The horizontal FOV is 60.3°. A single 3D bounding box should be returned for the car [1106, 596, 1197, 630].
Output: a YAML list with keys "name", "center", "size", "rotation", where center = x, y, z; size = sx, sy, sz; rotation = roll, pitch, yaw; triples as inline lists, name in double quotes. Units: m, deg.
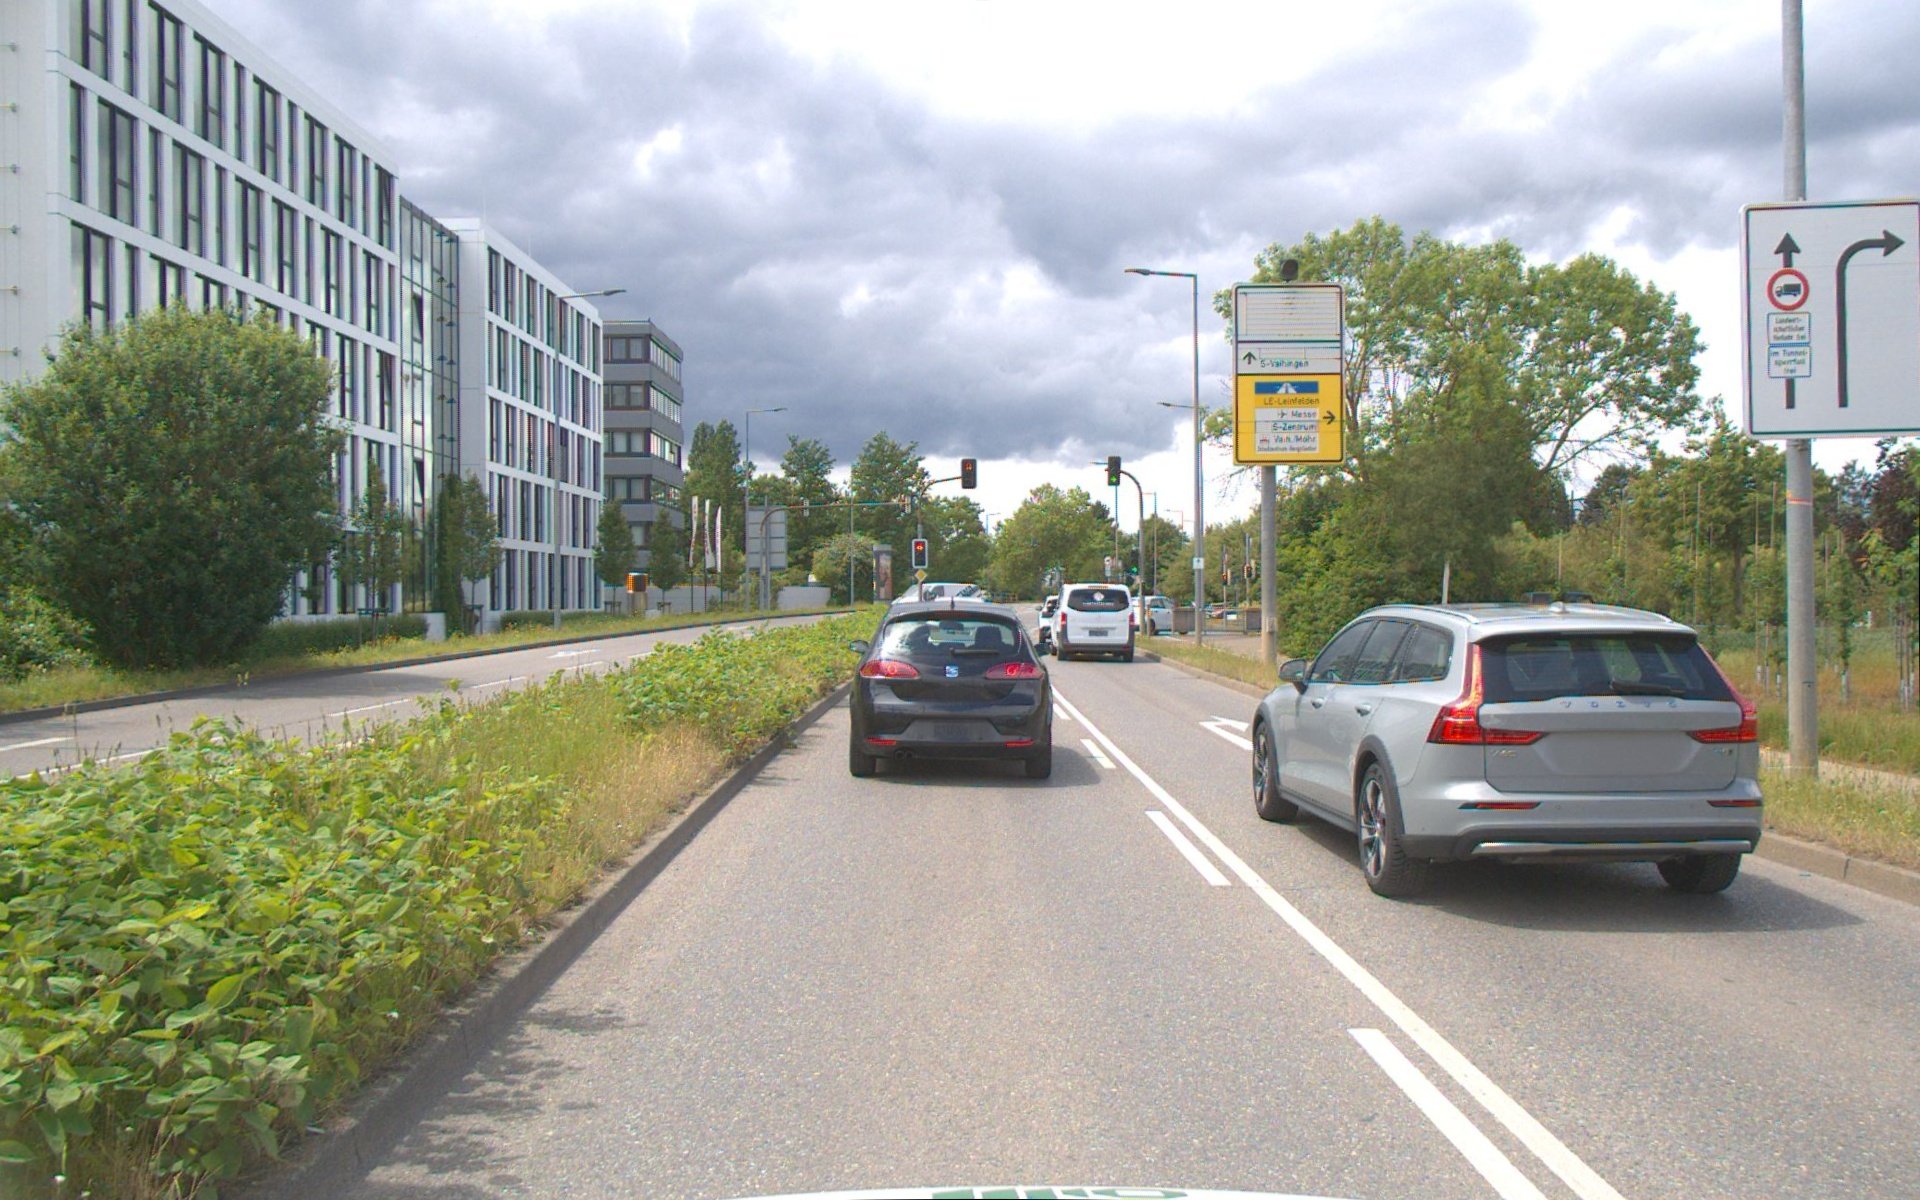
- name: "car"
  center: [7.803, 0.504, 67.449]
  size: [3.322, 1.369, 1.683]
  rotation: [0, 0, -14]

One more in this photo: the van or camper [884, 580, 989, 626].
- name: "van or camper"
  center: [-1.050, 0.126, 75.305]
  size: [1.967, 2.049, 4.780]
  rotation: [0, 0, 45]

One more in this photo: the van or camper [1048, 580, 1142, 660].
- name: "van or camper"
  center: [3.338, 0.458, 41.649]
  size: [1.953, 1.892, 4.943]
  rotation: [0, 0, 0]

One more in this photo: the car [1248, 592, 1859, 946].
- name: "car"
  center: [3.029, 0.735, 9.562]
  size: [1.825, 1.545, 4.445]
  rotation: [-1, 0, -2]

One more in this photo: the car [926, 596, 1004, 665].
- name: "car"
  center: [0.085, 0.680, 38.654]
  size: [1.737, 1.517, 3.582]
  rotation: [-1, 0, -1]

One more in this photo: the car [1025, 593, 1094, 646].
- name: "car"
  center: [3.200, 0.621, 54.033]
  size: [1.953, 1.660, 3.999]
  rotation: [0, 0, -1]

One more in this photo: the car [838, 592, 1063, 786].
- name: "car"
  center: [-0.033, 0.690, 14.802]
  size: [1.736, 1.477, 3.583]
  rotation: [1, 0, 1]

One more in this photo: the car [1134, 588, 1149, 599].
- name: "car"
  center: [25.104, -0.899, 228.756]
  size: [1.951, 1.375, 4.003]
  rotation: [1, 0, 9]
